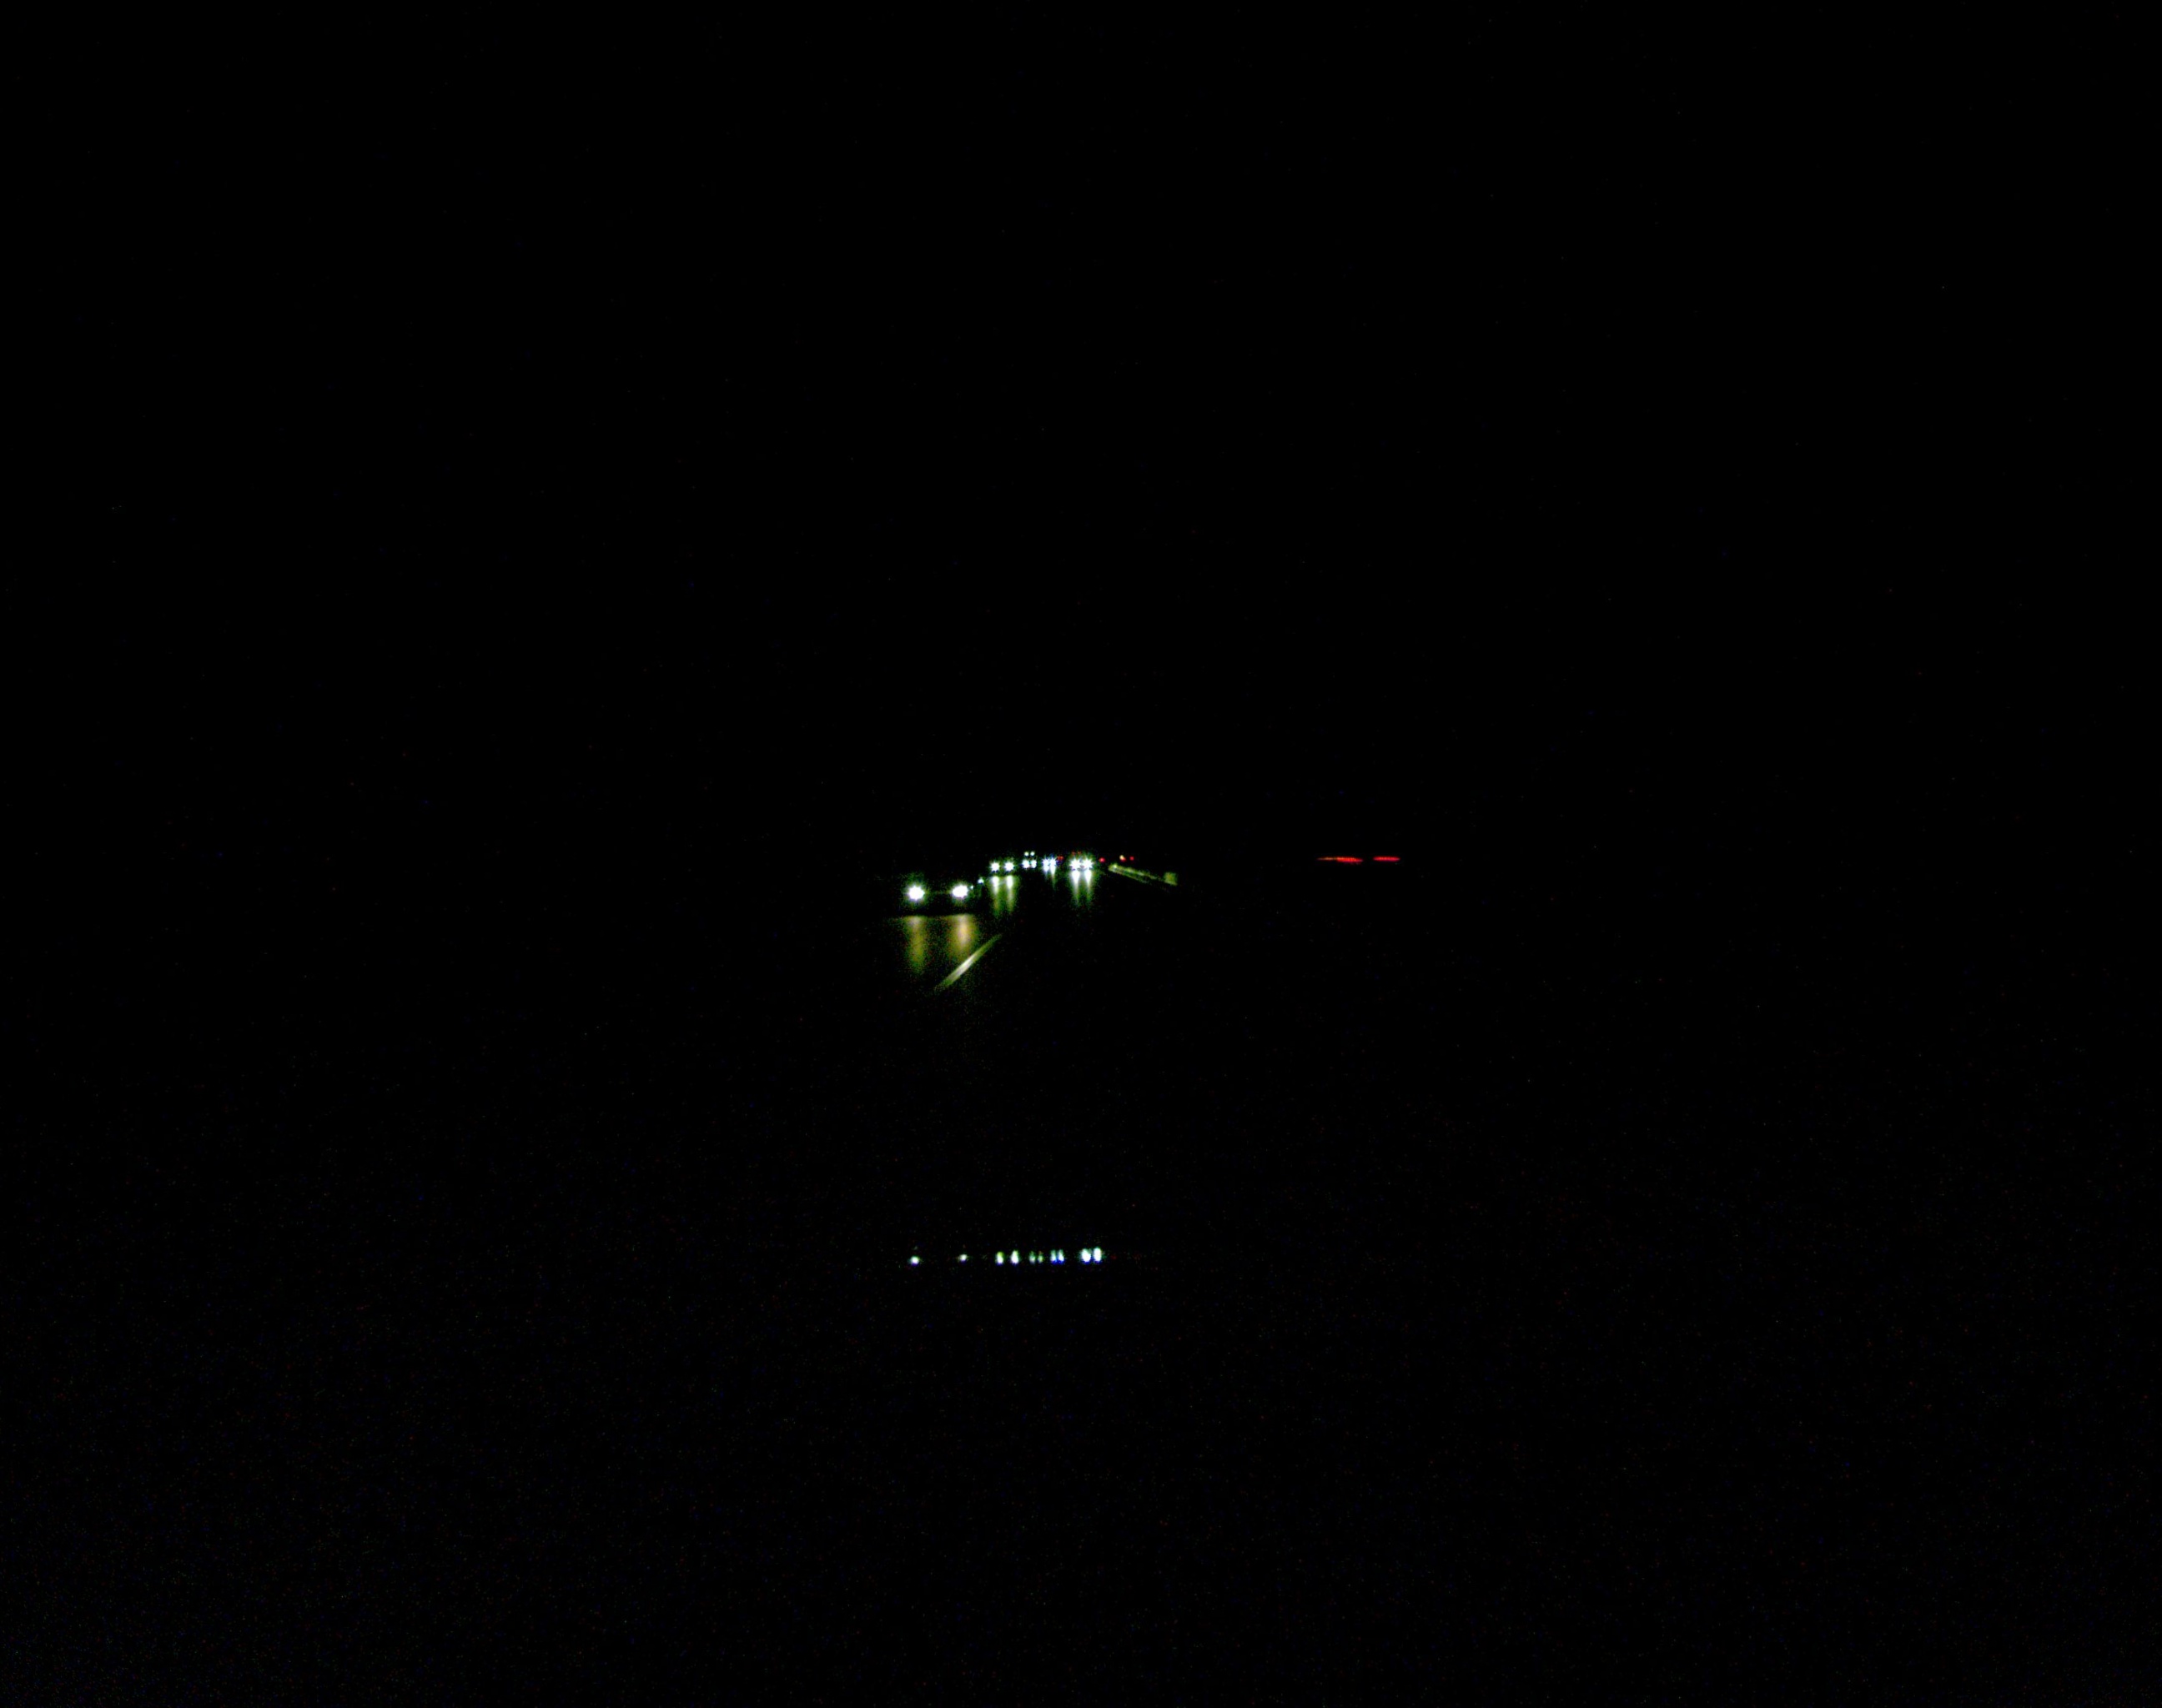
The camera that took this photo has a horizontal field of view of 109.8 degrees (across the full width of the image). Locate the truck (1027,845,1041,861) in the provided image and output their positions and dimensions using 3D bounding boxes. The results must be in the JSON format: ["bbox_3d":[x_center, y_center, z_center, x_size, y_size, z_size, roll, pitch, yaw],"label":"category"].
[{"bbox_3d":[-13.318,-0.242,213.750,3.348,4.407,6.989,-3,0,-7],"label":"truck"}]

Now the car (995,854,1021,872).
[{"bbox_3d":[-7.249,0.888,75.824,1.998,1.707,5.168,-3,0,0],"label":"car"}]

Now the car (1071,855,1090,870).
[{"bbox_3d":[-0.050,0.931,86.794,2.012,1.652,4.000,-2,0,1],"label":"car"}]

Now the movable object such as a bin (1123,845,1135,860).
[{"bbox_3d":[11.784,-0.361,185.650,2.213,3.397,7.436,-2,0,-1],"label":"movable object such as a bin"}]

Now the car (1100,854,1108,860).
[{"bbox_3d":[5.909,0.878,195.480,1.938,1.444,4.453,-2,0,-1],"label":"car"}]

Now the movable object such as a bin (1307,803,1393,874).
[{"bbox_3d":[15.612,-0.855,44.657,2.299,3.747,7.685,-2,0,0],"label":"movable object such as a bin"}]

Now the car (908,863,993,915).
[{"bbox_3d":[-4.109,1.059,24.698,1.840,1.393,5.069,-3,0,0],"label":"car"}]

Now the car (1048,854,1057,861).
[{"bbox_3d":[-6.318,0.790,168.674,1.940,1.608,3.999,-2,0,-3],"label":"car"}]
